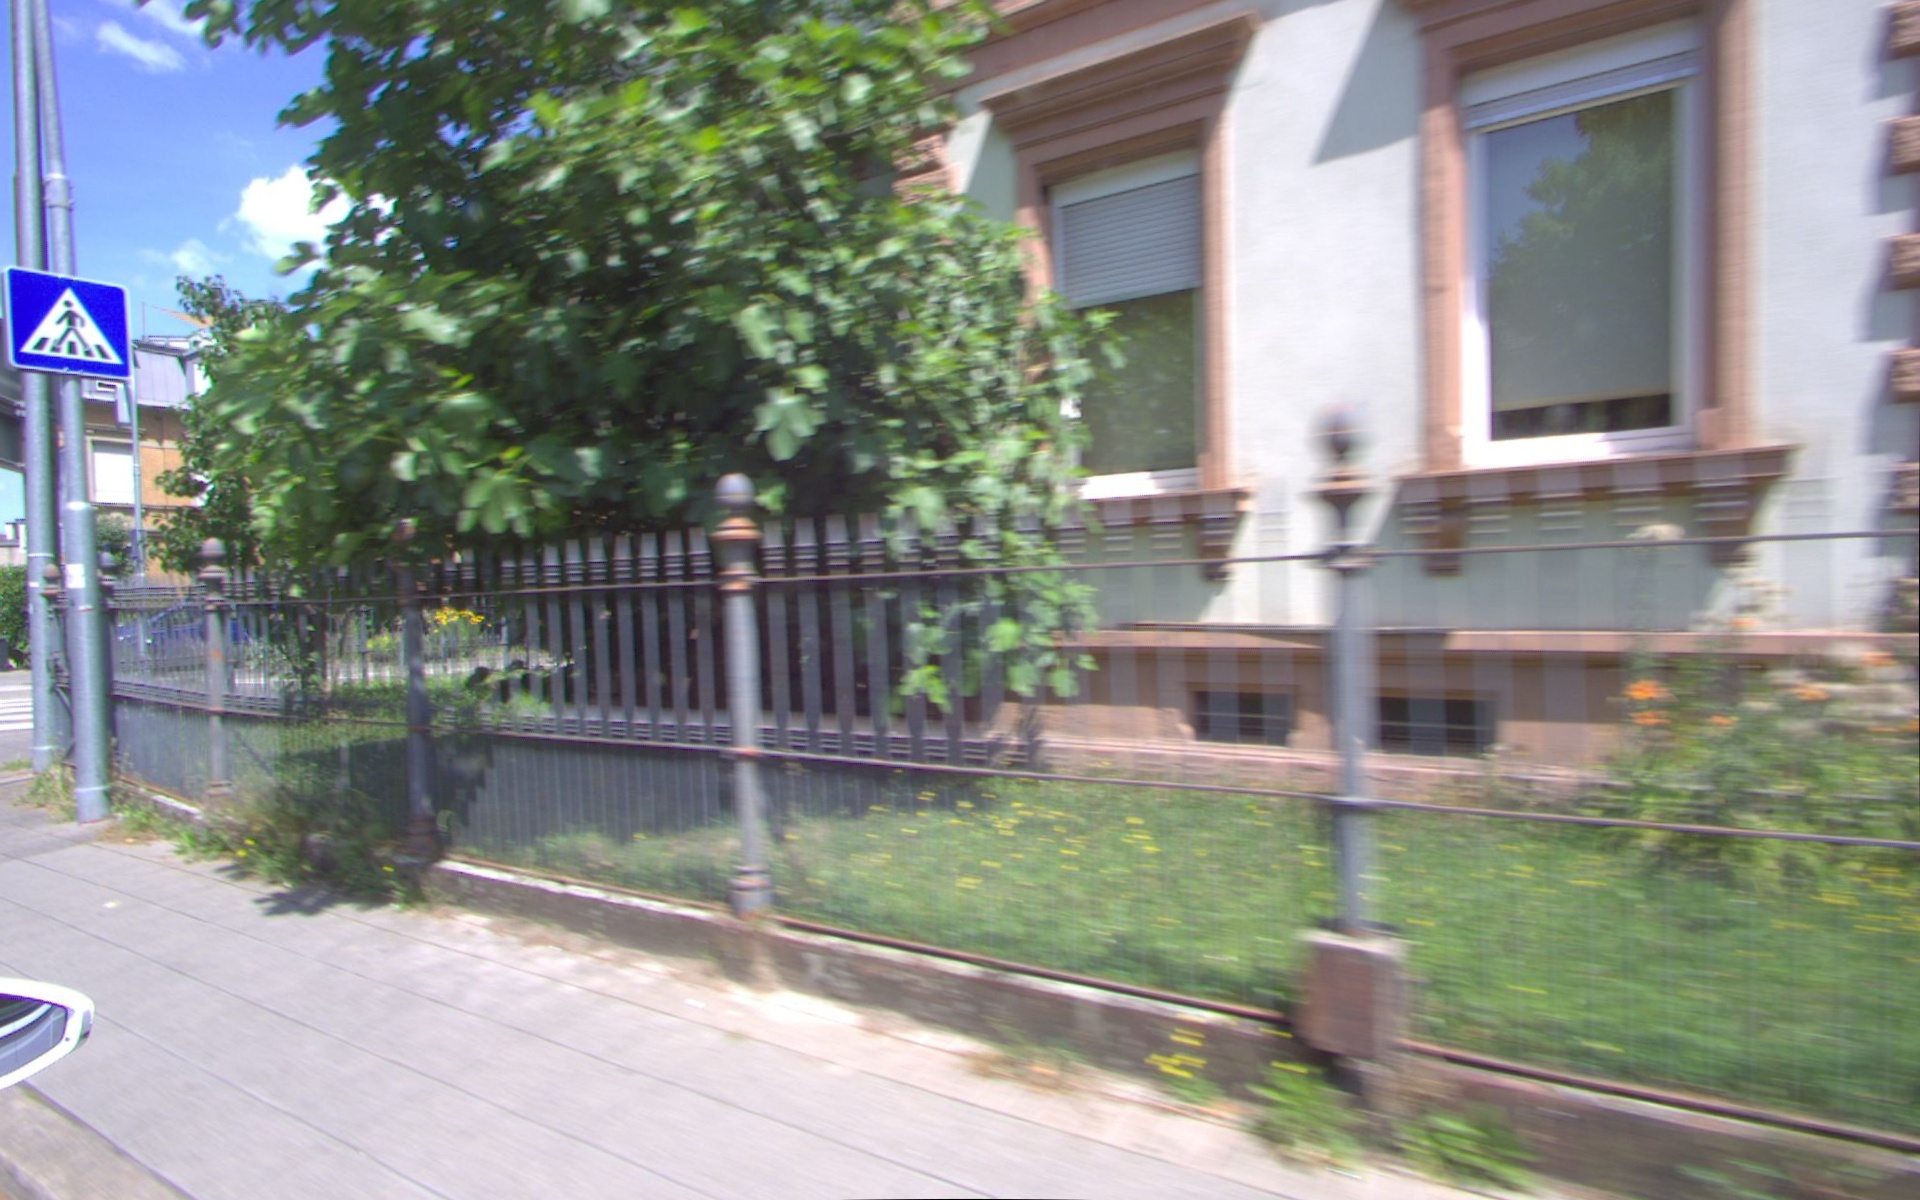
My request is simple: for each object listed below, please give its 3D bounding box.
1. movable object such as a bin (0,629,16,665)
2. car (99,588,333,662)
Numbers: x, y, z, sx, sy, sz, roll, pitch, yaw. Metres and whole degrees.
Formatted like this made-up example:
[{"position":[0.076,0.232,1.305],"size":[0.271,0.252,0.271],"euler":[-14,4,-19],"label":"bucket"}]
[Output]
[{"position":[-25.427,1.247,26.477],"size":[0.549,0.927,0.420],"euler":[-1,-2,8],"label":"movable object such as a bin"},{"position":[-21.710,0.637,29.416],"size":[2.059,1.974,5.198],"euler":[1,1,41],"label":"car"}]
